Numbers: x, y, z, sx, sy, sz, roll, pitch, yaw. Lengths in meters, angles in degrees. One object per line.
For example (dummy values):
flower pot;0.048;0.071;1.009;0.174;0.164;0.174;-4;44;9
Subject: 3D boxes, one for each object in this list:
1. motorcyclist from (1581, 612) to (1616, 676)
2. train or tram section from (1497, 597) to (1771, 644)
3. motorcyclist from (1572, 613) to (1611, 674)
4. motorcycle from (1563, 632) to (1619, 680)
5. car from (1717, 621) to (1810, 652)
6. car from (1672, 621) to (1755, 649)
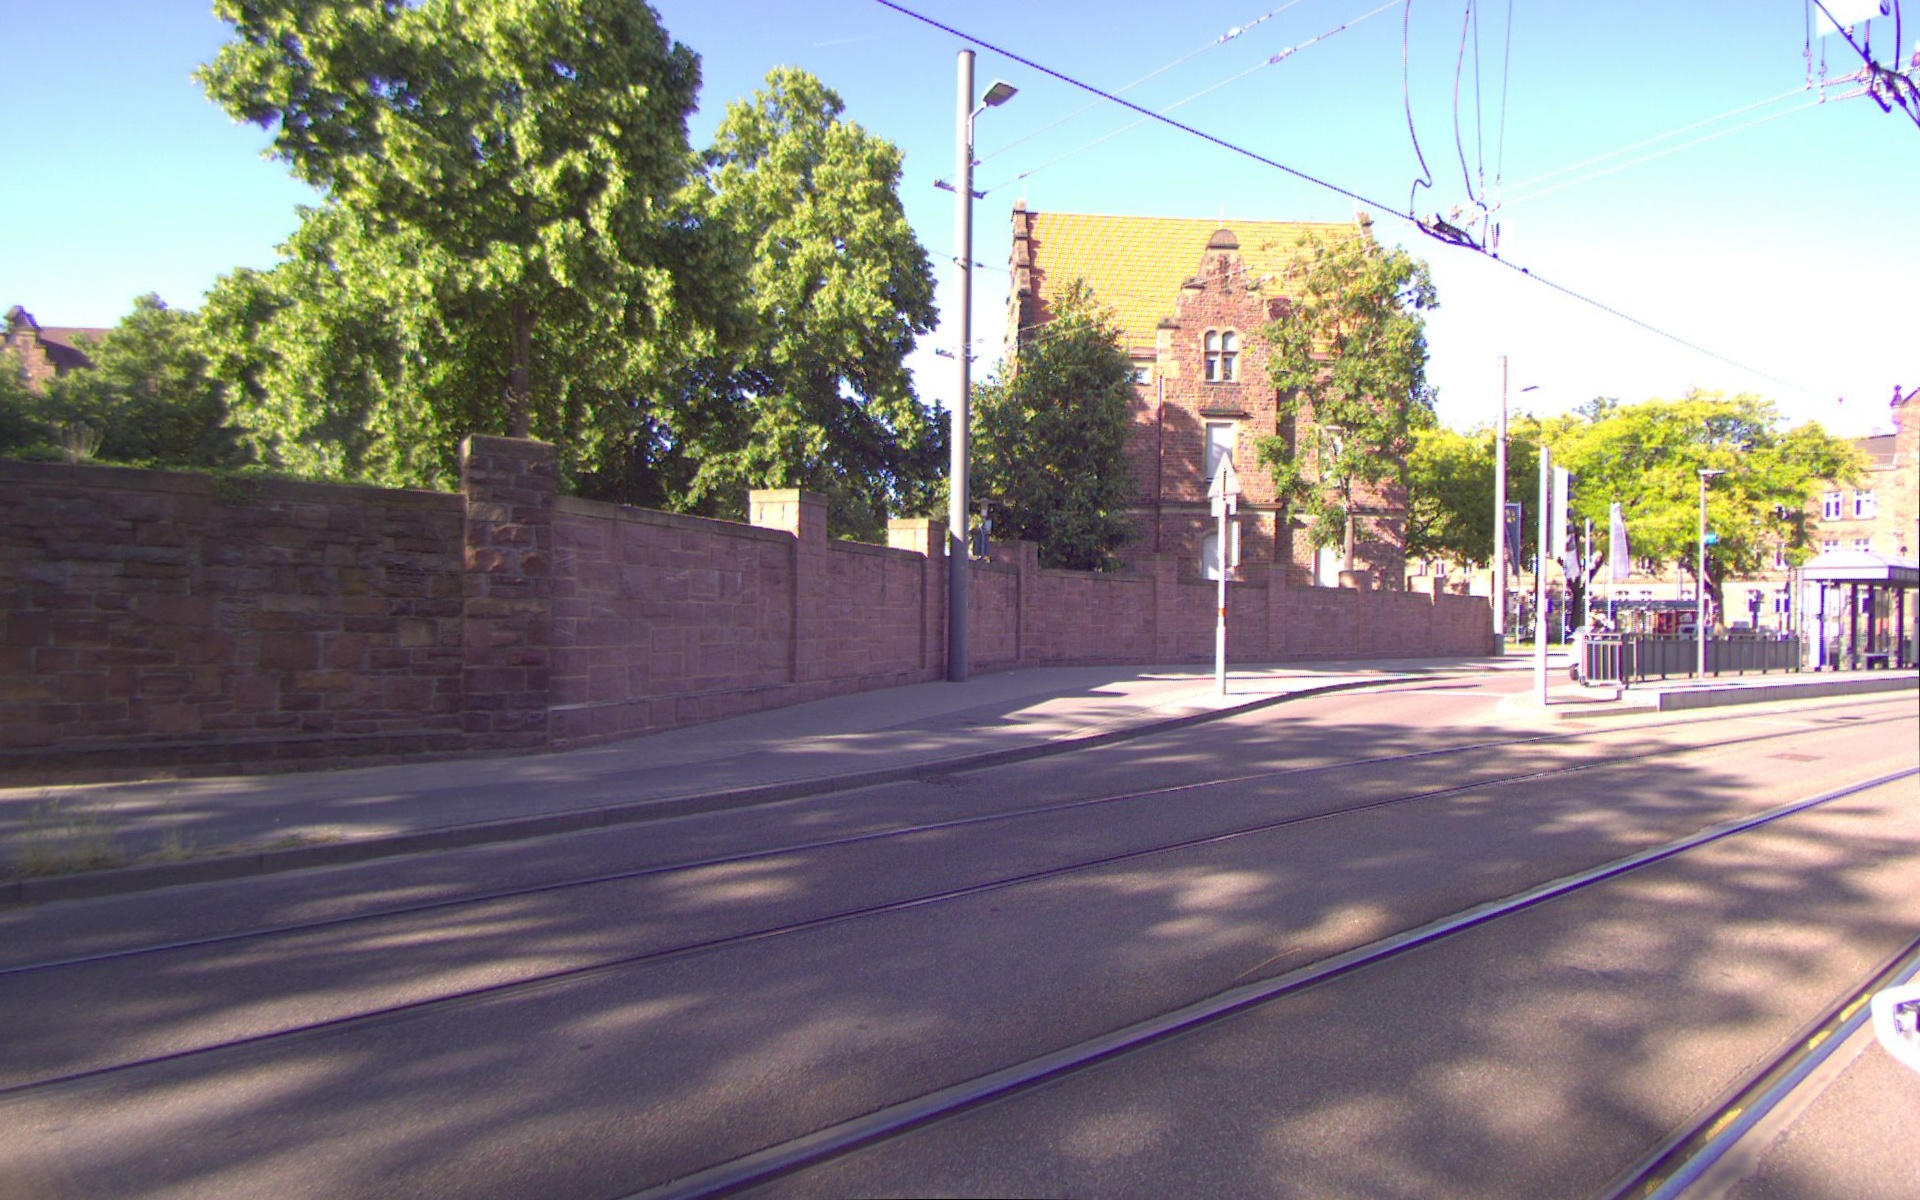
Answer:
motorcyclist;15.742;1.070;24.767;0.462;1.536;0.601;1;0;-39
train or tram section;50.047;1.457;75.883;3.312;3.196;17.280;2;-1;-33
motorcyclist;15.380;1.046;24.466;0.442;1.460;0.678;1;0;-39
motorcycle;15.401;1.348;24.490;1.841;1.108;0.604;1;0;-39
car;47.769;2.158;59.795;1.798;1.651;3.964;2;0;-32
car;49.195;2.240;65.679;1.798;1.651;3.964;2;0;-32
